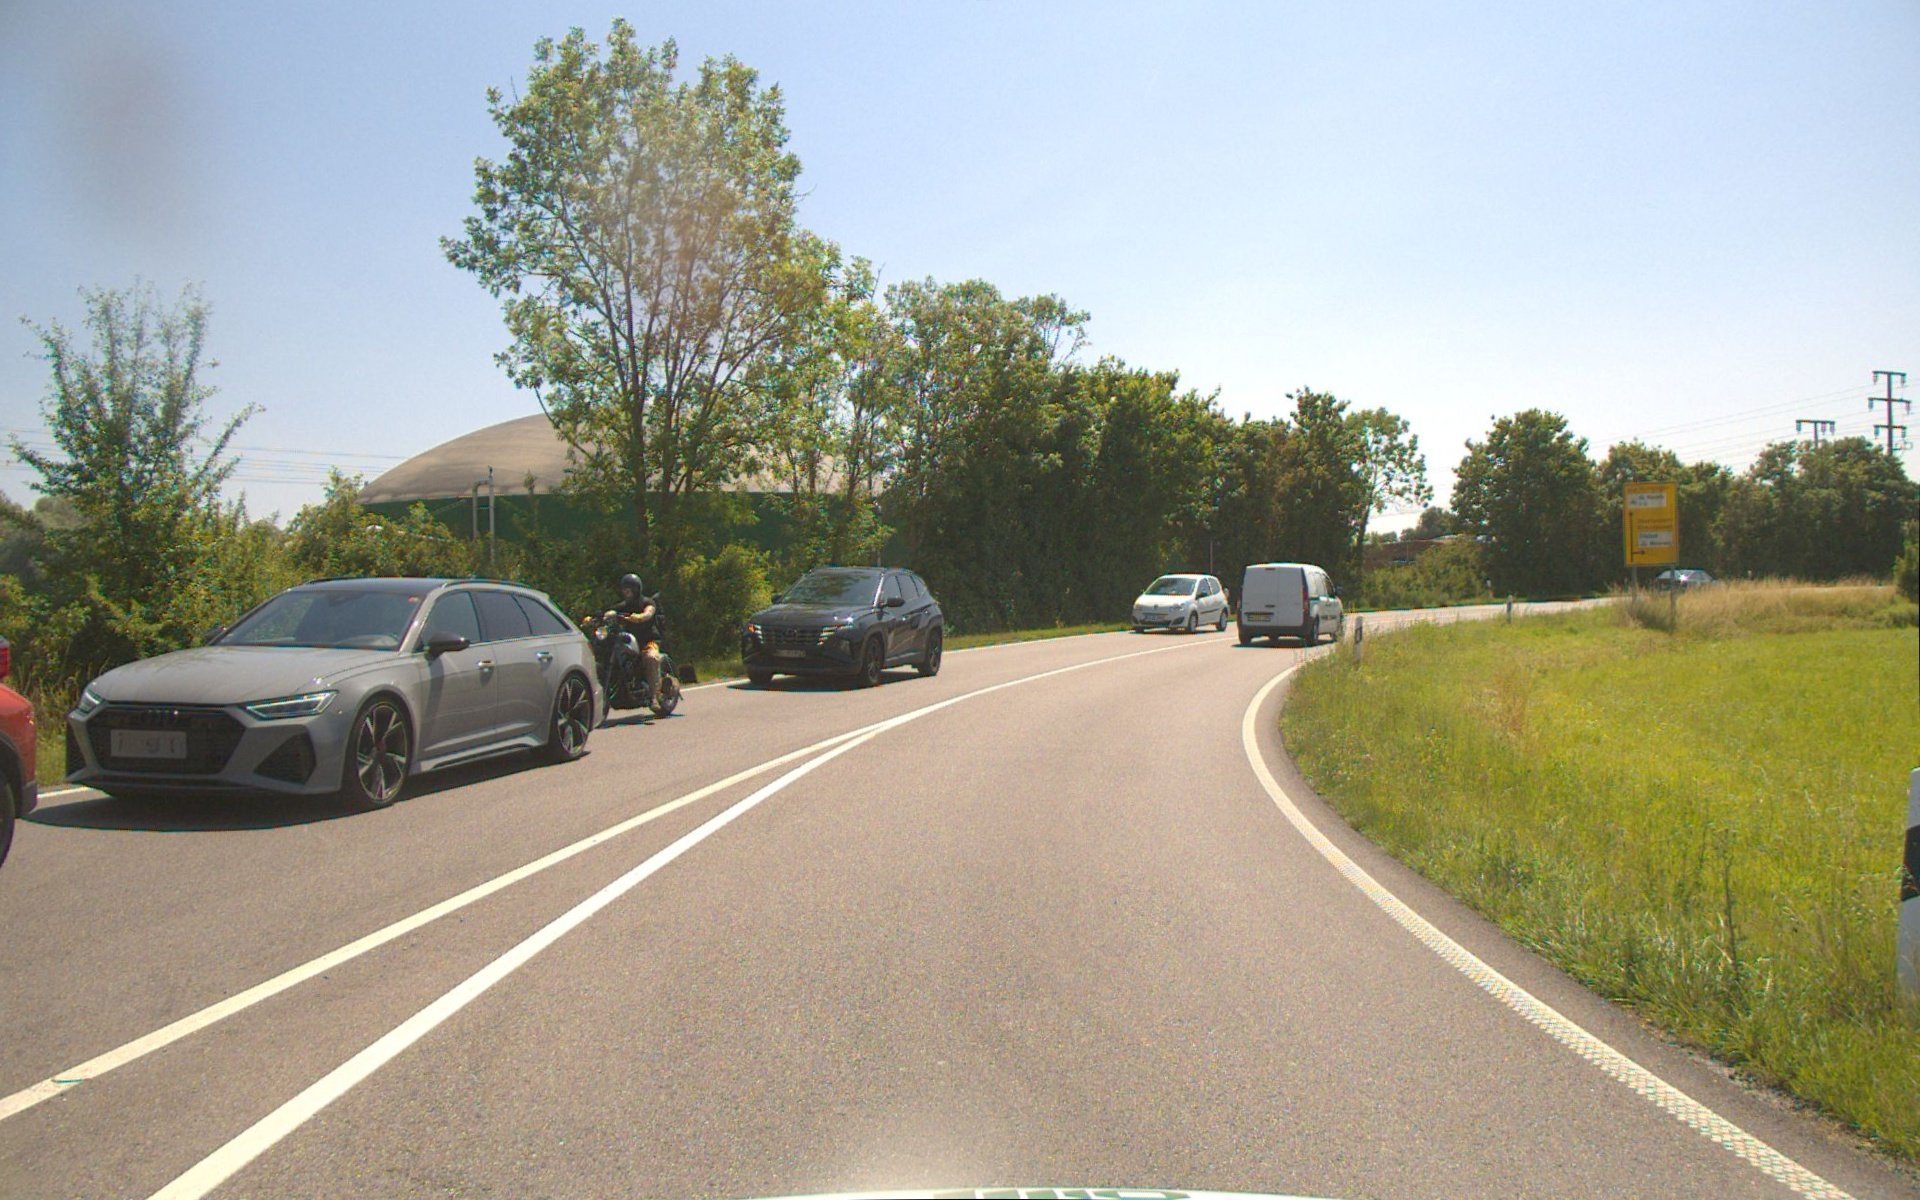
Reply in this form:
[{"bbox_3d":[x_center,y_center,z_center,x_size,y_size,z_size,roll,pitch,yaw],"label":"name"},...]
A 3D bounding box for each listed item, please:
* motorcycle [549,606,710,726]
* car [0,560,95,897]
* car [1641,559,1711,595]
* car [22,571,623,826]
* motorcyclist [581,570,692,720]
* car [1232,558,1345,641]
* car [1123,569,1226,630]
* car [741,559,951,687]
[{"bbox_3d":[-3.422,0.646,17.389,0.765,1.143,2.432,1,0,11],"label":"motorcycle"},{"bbox_3d":[-5.570,0.585,6.180,1.760,1.542,4.395,0,0,12],"label":"car"},{"bbox_3d":[30.973,-0.992,71.528,1.693,1.445,3.724,-2,0,41],"label":"car"},{"bbox_3d":[-4.292,0.541,12.162,1.802,1.485,4.813,0,1,12],"label":"car"},{"bbox_3d":[-3.398,0.456,17.471,0.764,1.521,1.132,-1,0,11],"label":"motorcyclist"},{"bbox_3d":[7.577,-0.007,37.911,1.864,1.763,3.822,-1,0,21],"label":"car"},{"bbox_3d":[5.621,-0.021,42.989,1.507,1.468,3.603,2,1,27],"label":"car"},{"bbox_3d":[-1.543,0.260,24.070,1.666,1.666,4.252,1,1,17],"label":"car"}]
